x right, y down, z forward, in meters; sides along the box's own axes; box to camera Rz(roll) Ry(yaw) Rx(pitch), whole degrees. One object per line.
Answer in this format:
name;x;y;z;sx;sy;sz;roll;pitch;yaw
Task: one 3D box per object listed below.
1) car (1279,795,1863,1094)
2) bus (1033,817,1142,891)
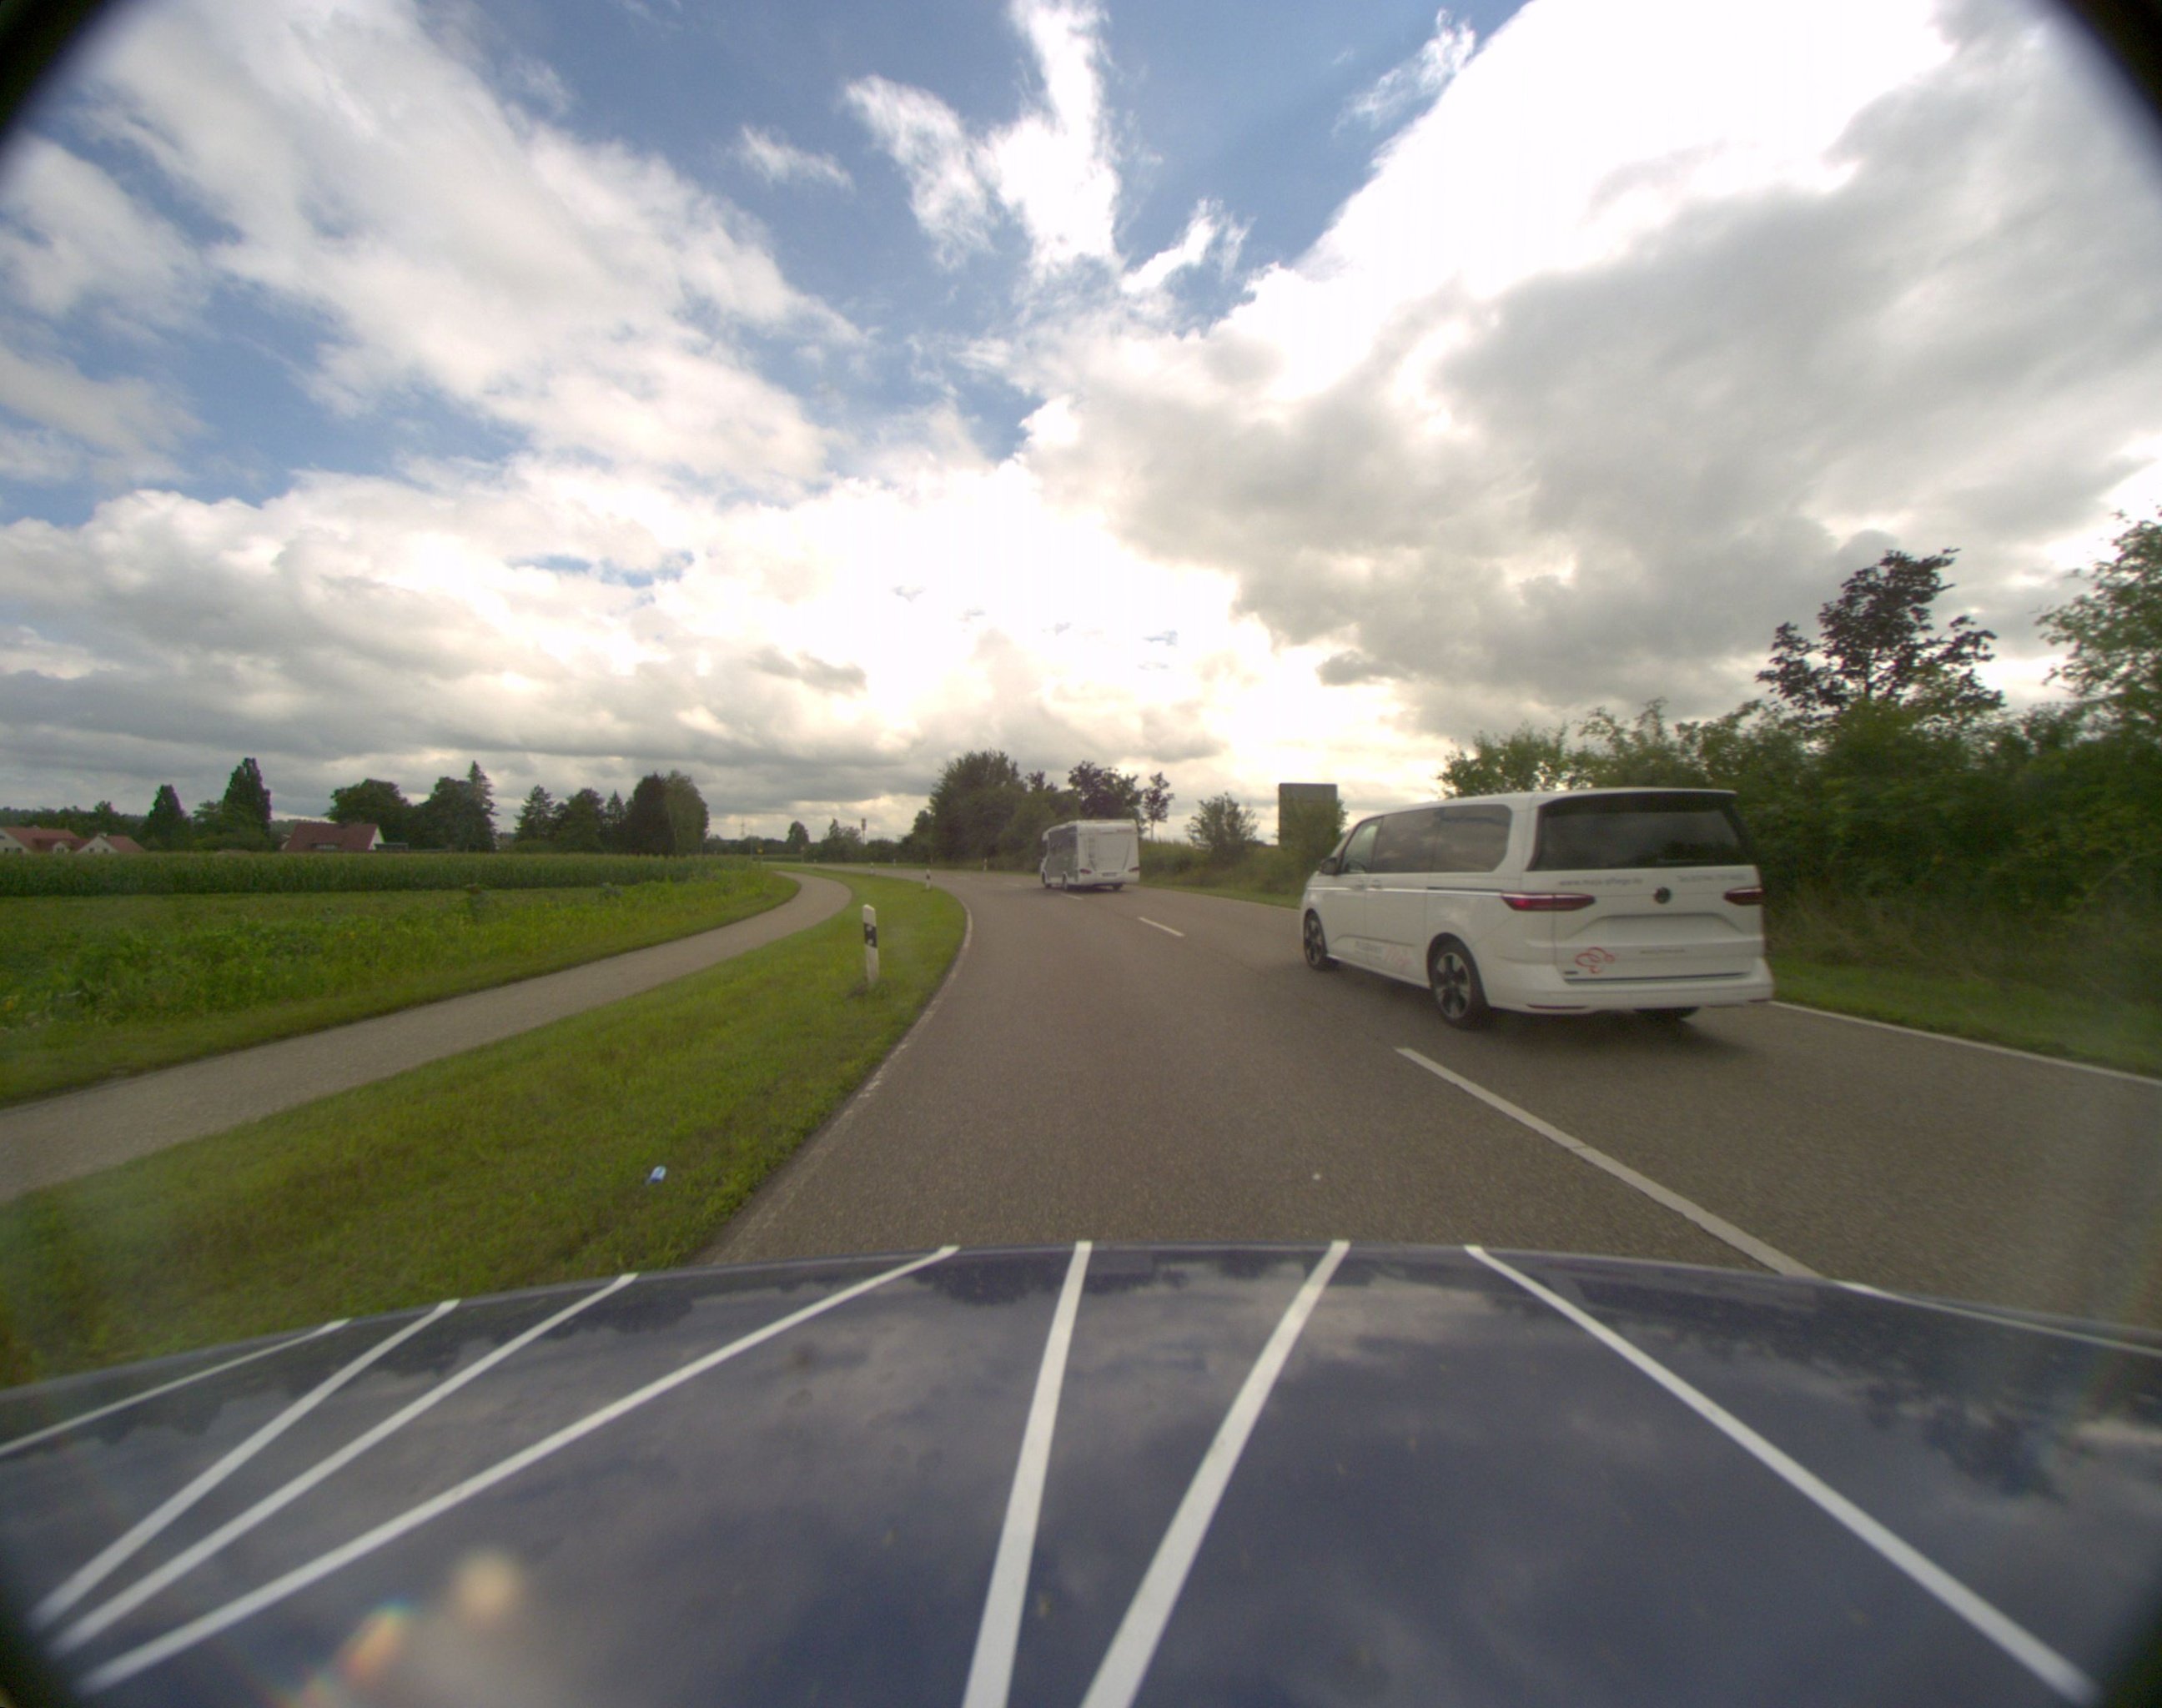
car;3.809;0.545;7.402;2.119;1.858;5.184;-1;1;-4
bus;0.010;-0.022;32.145;2.484;2.695;8.419;-1;1;-14
